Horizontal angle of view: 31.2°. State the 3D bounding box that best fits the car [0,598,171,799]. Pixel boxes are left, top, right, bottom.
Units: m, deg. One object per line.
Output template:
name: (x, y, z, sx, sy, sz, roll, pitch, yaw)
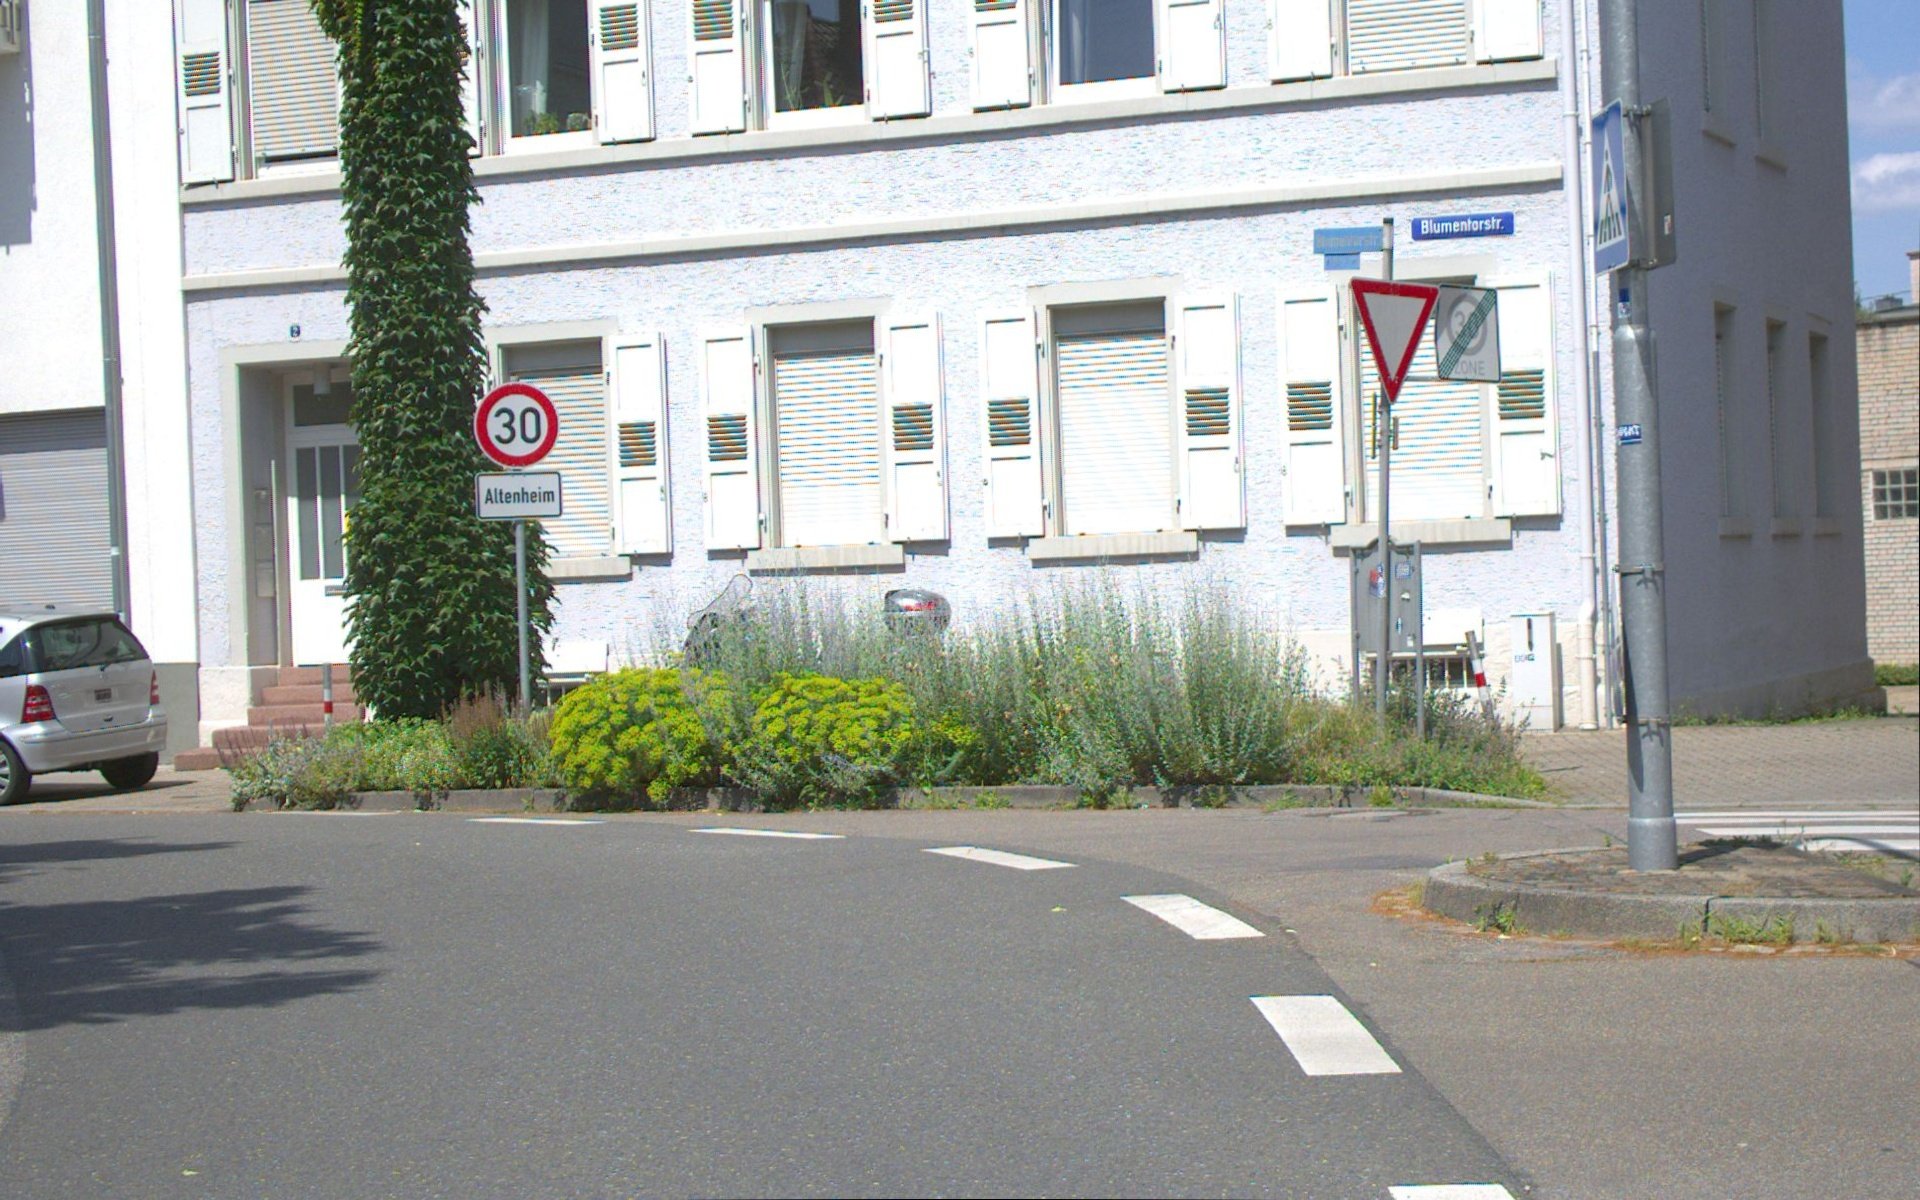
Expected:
car: (-8.472, 0.822, 28.607, 3.612, 1.581, 1.581, -1, -2, 30)
